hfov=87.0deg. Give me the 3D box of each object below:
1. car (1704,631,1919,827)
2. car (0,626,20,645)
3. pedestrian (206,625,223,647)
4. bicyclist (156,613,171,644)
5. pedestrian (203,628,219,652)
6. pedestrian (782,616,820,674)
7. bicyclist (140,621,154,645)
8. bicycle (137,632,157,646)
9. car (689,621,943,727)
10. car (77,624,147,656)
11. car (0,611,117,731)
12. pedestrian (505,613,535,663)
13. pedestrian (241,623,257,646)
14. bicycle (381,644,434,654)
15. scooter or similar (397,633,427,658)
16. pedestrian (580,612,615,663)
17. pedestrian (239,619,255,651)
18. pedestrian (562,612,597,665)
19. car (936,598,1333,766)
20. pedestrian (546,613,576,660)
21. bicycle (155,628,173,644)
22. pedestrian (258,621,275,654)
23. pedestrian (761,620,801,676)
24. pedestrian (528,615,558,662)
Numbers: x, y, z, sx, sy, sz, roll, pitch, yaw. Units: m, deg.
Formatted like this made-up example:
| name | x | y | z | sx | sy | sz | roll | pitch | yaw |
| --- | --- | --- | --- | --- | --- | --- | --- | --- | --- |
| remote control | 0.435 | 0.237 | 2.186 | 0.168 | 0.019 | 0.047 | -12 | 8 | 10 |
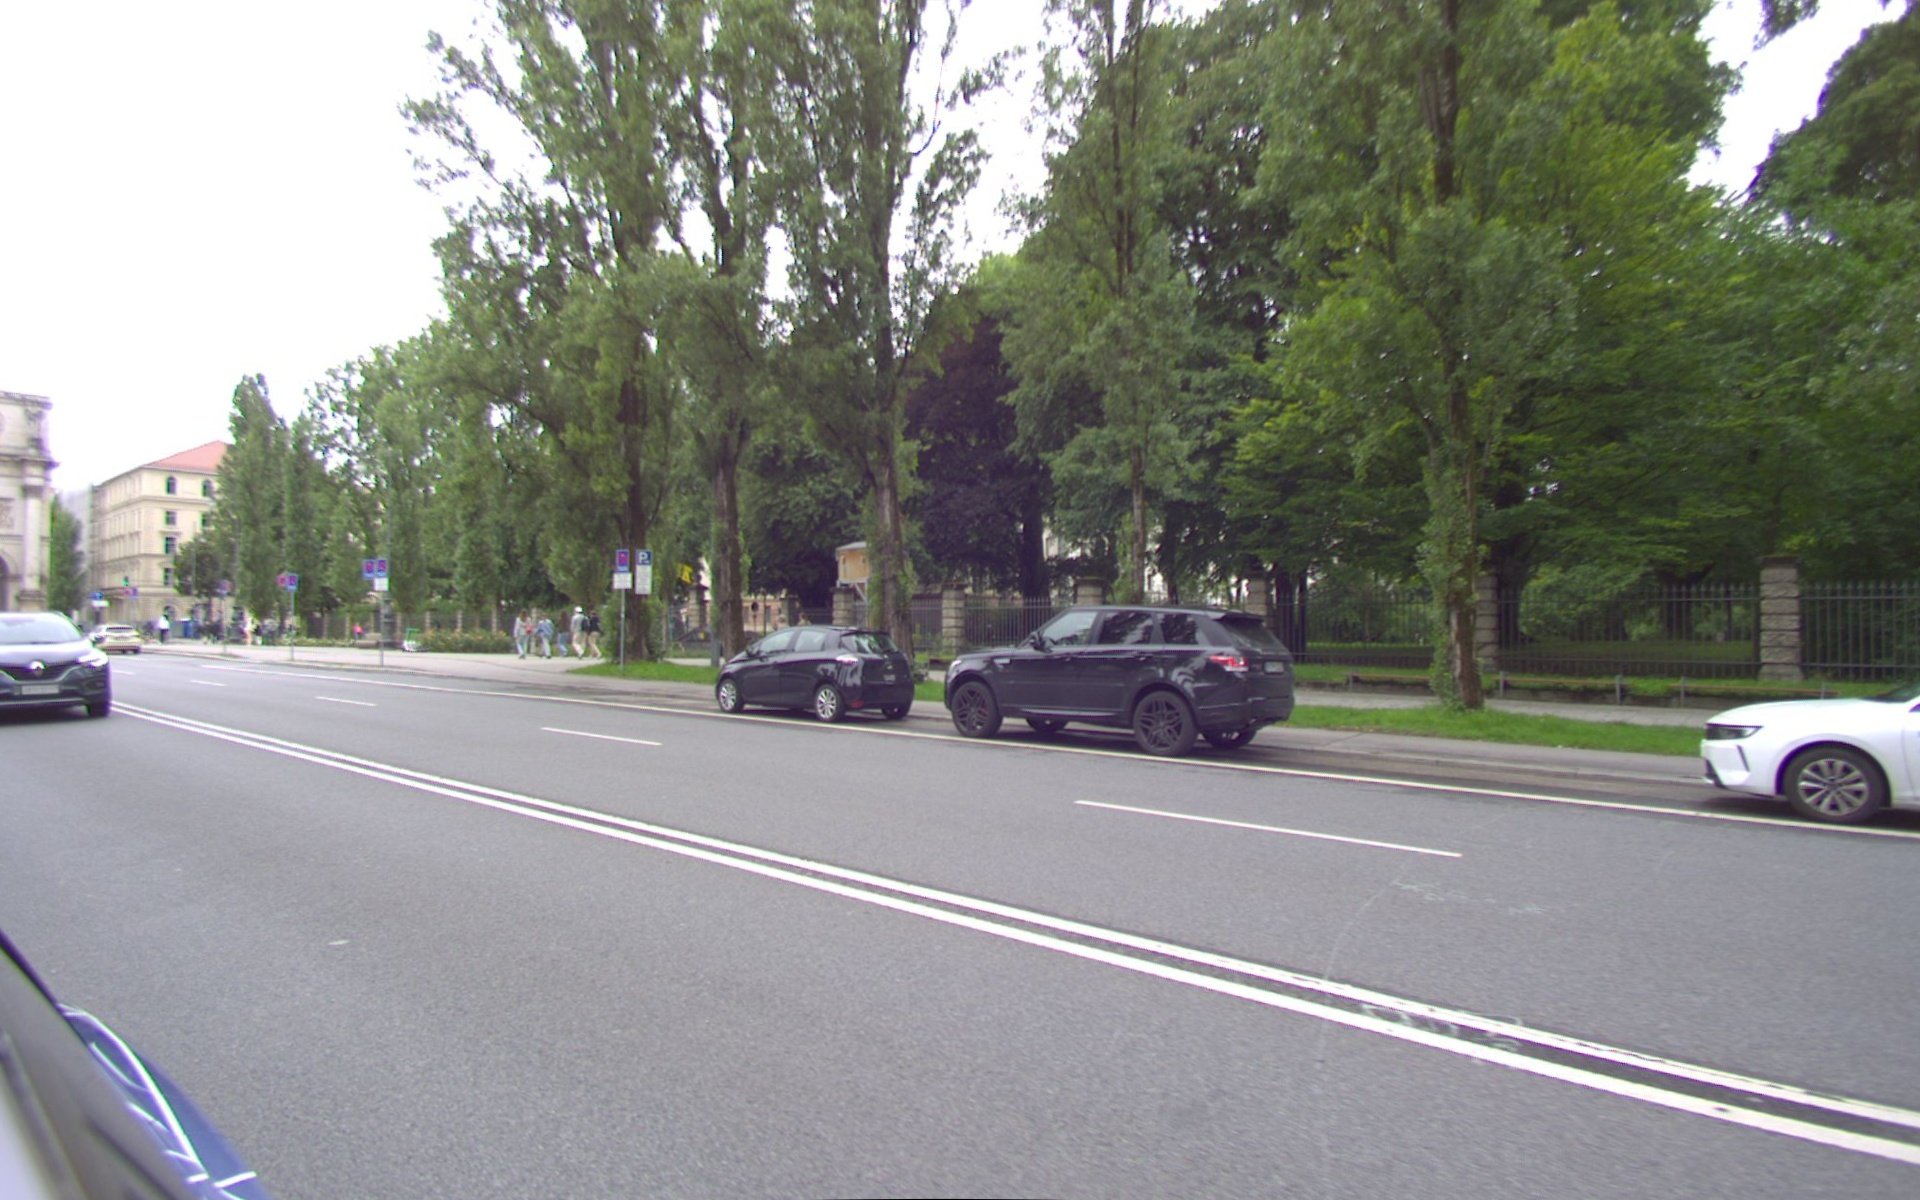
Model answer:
| name | x | y | z | sx | sy | sz | roll | pitch | yaw |
| --- | --- | --- | --- | --- | --- | --- | --- | --- | --- |
| car | 8.429 | 1.011 | 7.779 | 4.269 | 1.470 | 1.687 | -1 | -4 | 40 |
| car | -93.898 | 3.431 | 98.005 | 3.944 | 1.763 | 1.999 | 0 | -2 | 1 |
| pedestrian | -59.533 | 2.887 | 80.819 | 0.944 | 1.731 | 1.033 | 0 | 0 | -28 |
| bicyclist | -48.652 | 1.731 | 61.839 | 0.660 | 1.837 | 0.583 | -2 | -1 | 38 |
| pedestrian | -56.402 | 2.998 | 76.229 | 0.945 | 1.731 | 1.032 | 0 | -1 | -38 |
| pedestrian | -4.545 | 1.284 | 28.957 | 0.812 | 1.617 | 0.711 | -2 | -2 | 39 |
| bicyclist | -56.162 | 2.267 | 69.894 | 0.660 | 1.604 | 0.639 | -2 | -1 | 38 |
| bicycle | -56.145 | 2.689 | 69.894 | 1.912 | 0.959 | 0.666 | -2 | -1 | 40 |
| car | -2.563 | 1.203 | 17.436 | 4.386 | 1.596 | 1.924 | -1 | -4 | 41 |
| car | -42.352 | 1.965 | 50.508 | 4.464 | 1.347 | 1.775 | 2 | 0 | 39 |
| car | -14.197 | 0.993 | 15.139 | 4.183 | 1.598 | 1.816 | -1 | -1 | 41 |
| pedestrian | -15.794 | 1.358 | 36.337 | 0.907 | 1.760 | 0.623 | -2 | -2 | 40 |
| pedestrian | -59.893 | 2.883 | 85.243 | 0.976 | 1.885 | 1.032 | 0 | -1 | -40 |
| bicycle | -29.419 | 2.589 | 53.927 | 1.330 | 0.456 | 2.204 | -2 | -2 | 17 |
| scooter or similar | -26.974 | 2.226 | 49.804 | 1.413 | 1.187 | 0.738 | -1 | -3 | 36 |
| pedestrian | -13.022 | 1.348 | 36.341 | 1.092 | 1.786 | 0.702 | -1 | -1 | 39 |
| pedestrian | -39.783 | 1.955 | 56.448 | 0.581 | 1.744 | 0.527 | -1 | -2 | 29 |
| pedestrian | -13.450 | 1.344 | 35.766 | 1.092 | 1.847 | 0.702 | -1 | -1 | 39 |
| car | 2.123 | 0.981 | 13.251 | 4.798 | 1.800 | 2.024 | -1 | -4 | 42 |
| pedestrian | -14.879 | 1.351 | 37.728 | 0.910 | 1.729 | 0.653 | -2 | -2 | 40 |
| bicycle | -48.664 | 2.193 | 61.854 | 1.912 | 0.959 | 0.465 | -2 | -1 | 40 |
| pedestrian | -36.659 | 1.996 | 53.472 | 0.581 | 1.744 | 0.527 | -1 | -2 | 29 |
| pedestrian | -5.009 | 1.338 | 28.383 | 0.874 | 1.560 | 0.711 | -2 | -2 | 39 |
| pedestrian | -15.310 | 1.410 | 37.128 | 0.885 | 1.713 | 0.681 | -2 | -2 | 40 |
